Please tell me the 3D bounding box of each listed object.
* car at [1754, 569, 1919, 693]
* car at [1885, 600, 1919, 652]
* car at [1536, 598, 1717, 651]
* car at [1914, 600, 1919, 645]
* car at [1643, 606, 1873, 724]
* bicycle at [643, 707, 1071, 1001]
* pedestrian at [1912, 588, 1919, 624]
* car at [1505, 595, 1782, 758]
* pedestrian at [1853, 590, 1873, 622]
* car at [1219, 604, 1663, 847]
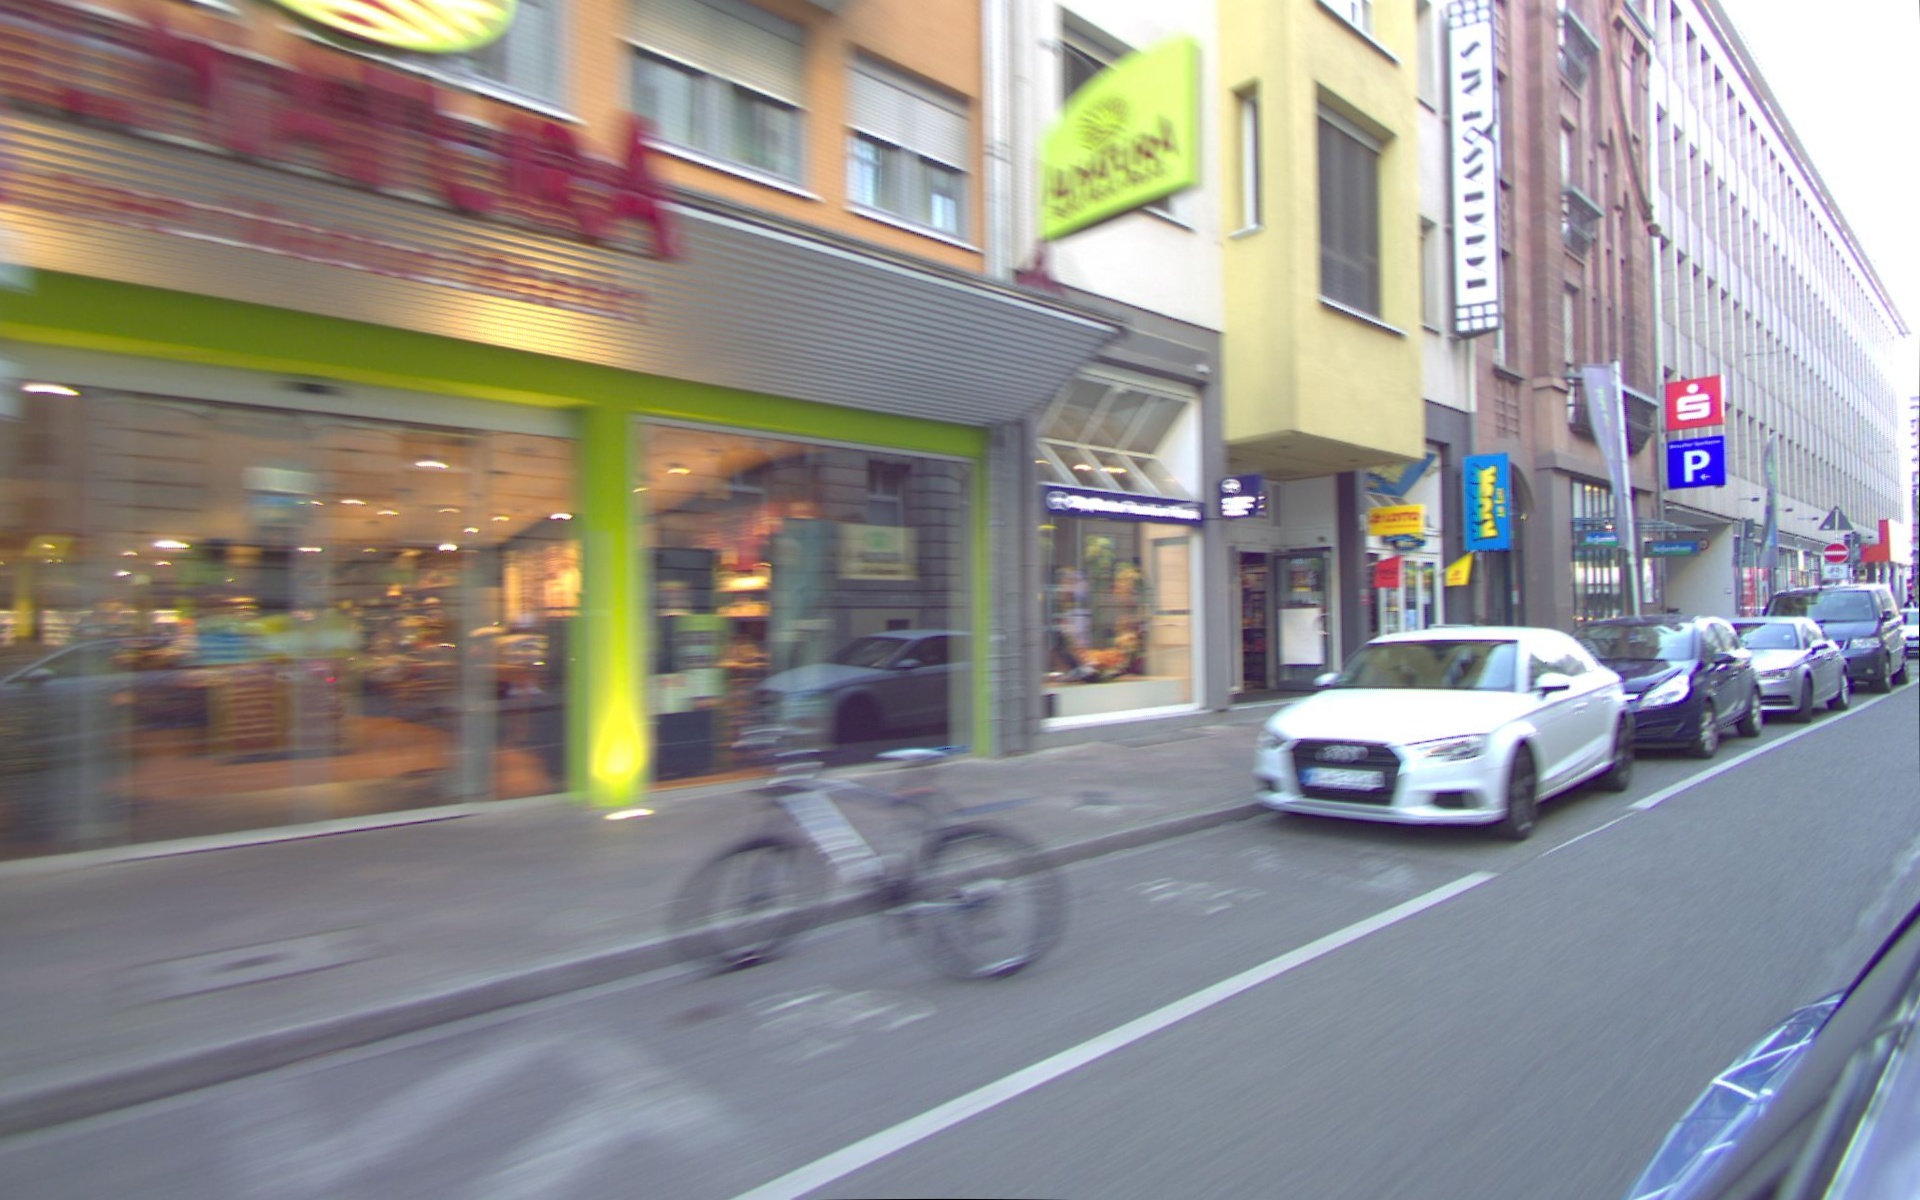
[{"bbox_3d":[16.970,0.530,19.400,4.967,2.085,1.849,-1,-2,-42],"label":"car"},{"bbox_3d":[29.343,0.733,30.526,4.234,1.466,1.658,-1,-2,-42],"label":"car"},{"bbox_3d":[20.928,0.776,31.905,1.884,1.520,4.407,-1,-1,-42],"label":"car"},{"bbox_3d":[33.775,0.709,34.375,4.370,1.466,1.658,-1,-2,-43],"label":"car"},{"bbox_3d":[11.745,0.873,14.788,4.417,1.472,1.689,0,-4,-40],"label":"car"},{"bbox_3d":[-0.405,1.035,4.344,1.708,1.069,0.658,-2,-2,8],"label":"bicycle"},{"bbox_3d":[52.204,0.298,54.719,0.783,1.943,0.688,0,-1,-11],"label":"pedestrian"},{"bbox_3d":[7.904,0.777,11.551,4.102,1.536,1.619,1,-4,-42],"label":"car"},{"bbox_3d":[50.600,0.341,56.702,0.796,1.784,0.677,-1,-1,41],"label":"pedestrian"},{"bbox_3d":[4.095,0.806,8.187,4.561,1.430,1.692,1,-4,-44],"label":"car"}]
